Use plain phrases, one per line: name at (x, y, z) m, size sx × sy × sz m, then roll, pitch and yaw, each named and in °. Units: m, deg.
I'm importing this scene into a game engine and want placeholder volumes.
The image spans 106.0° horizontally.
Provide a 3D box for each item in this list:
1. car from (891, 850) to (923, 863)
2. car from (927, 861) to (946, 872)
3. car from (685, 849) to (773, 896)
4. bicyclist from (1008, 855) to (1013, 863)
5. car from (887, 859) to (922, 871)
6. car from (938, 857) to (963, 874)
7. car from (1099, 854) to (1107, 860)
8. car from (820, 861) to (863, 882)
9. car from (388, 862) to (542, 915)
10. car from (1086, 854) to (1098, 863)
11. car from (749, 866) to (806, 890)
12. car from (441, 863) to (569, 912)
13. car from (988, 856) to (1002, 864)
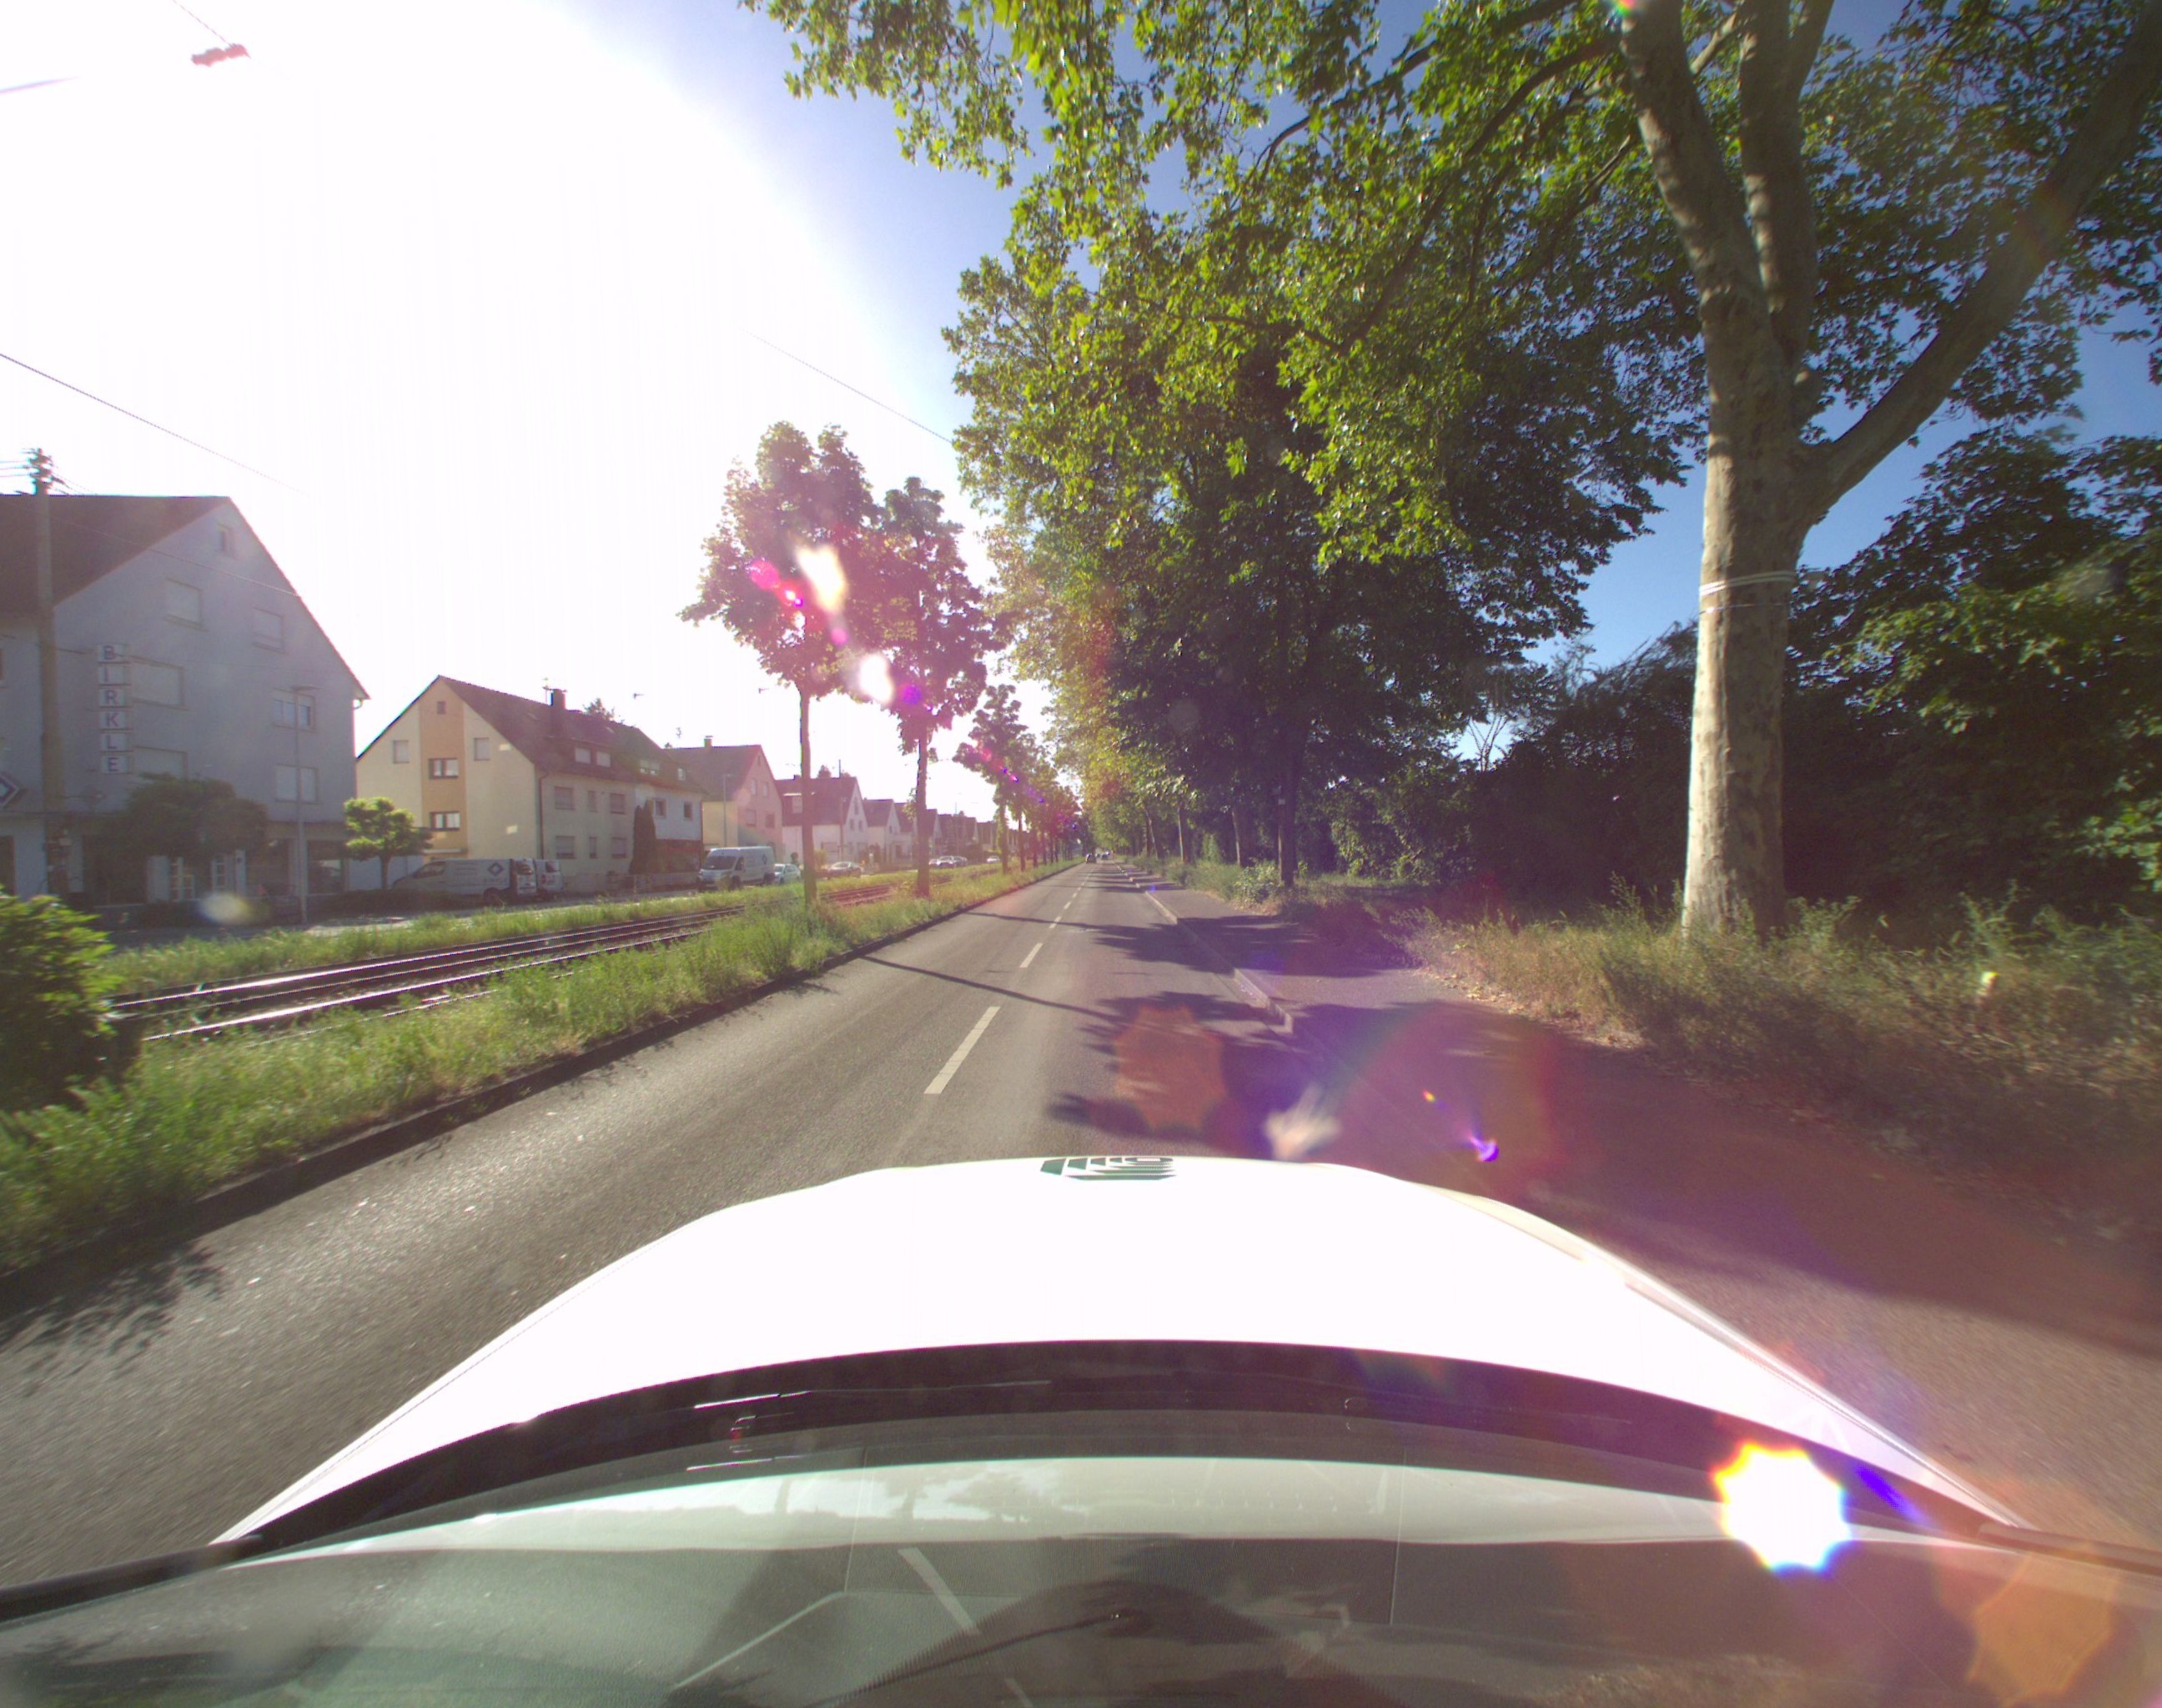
car at (-24.026, 0.349, 112.571) m, size 3.977 × 1.669 × 1.998 m, roll -1°, pitch 0°, yaw -3°
car at (-18.520, 1.548, 104.420) m, size 1.487 × 1.326 × 4.003 m, roll -1°, pitch 0°, yaw 3°
car at (-19.898, 1.000, 46.451) m, size 1.986 × 2.459 × 6.676 m, roll -1°, pitch 0°, yaw 1°
bicyclist at (-14.267, 0.953, 164.769) m, size 0.686 × 1.652 × 0.882 m, roll -1°, pitch 0°, yaw 1°
car at (-23.239, 1.430, 107.489) m, size 4.203 × 1.463 × 1.936 m, roll -1°, pitch 0°, yaw -3°
car at (-14.663, 1.250, 91.607) m, size 1.908 × 1.883 × 4.526 m, roll -1°, pitch 0°, yaw 3°
car at (5.275, 0.731, 192.772) m, size 1.754 × 1.513 × 3.278 m, roll -1°, pitch 0°, yaw 2°
car at (-19.542, 1.415, 66.523) m, size 1.986 × 1.581 × 4.500 m, roll -1°, pitch 0°, yaw 2°
car at (-25.430, 1.386, 33.805) m, size 4.616 × 1.945 × 1.994 m, roll -2°, pitch 0°, yaw -9°
car at (1.754, 0.665, 127.457) m, size 1.732 × 1.401 × 3.277 m, roll -1°, pitch 0°, yaw 1°
car at (-19.661, 1.551, 52.965) m, size 1.818 × 1.412 × 4.658 m, roll -1°, pitch 0°, yaw 1°
car at (-25.642, 1.450, 36.380) m, size 4.137 × 1.952 × 1.994 m, roll -2°, pitch 0°, yaw -9°
car at (-16.939, 1.204, 160.425) m, size 1.984 × 1.599 × 4.738 m, roll -1°, pitch 0°, yaw 5°
